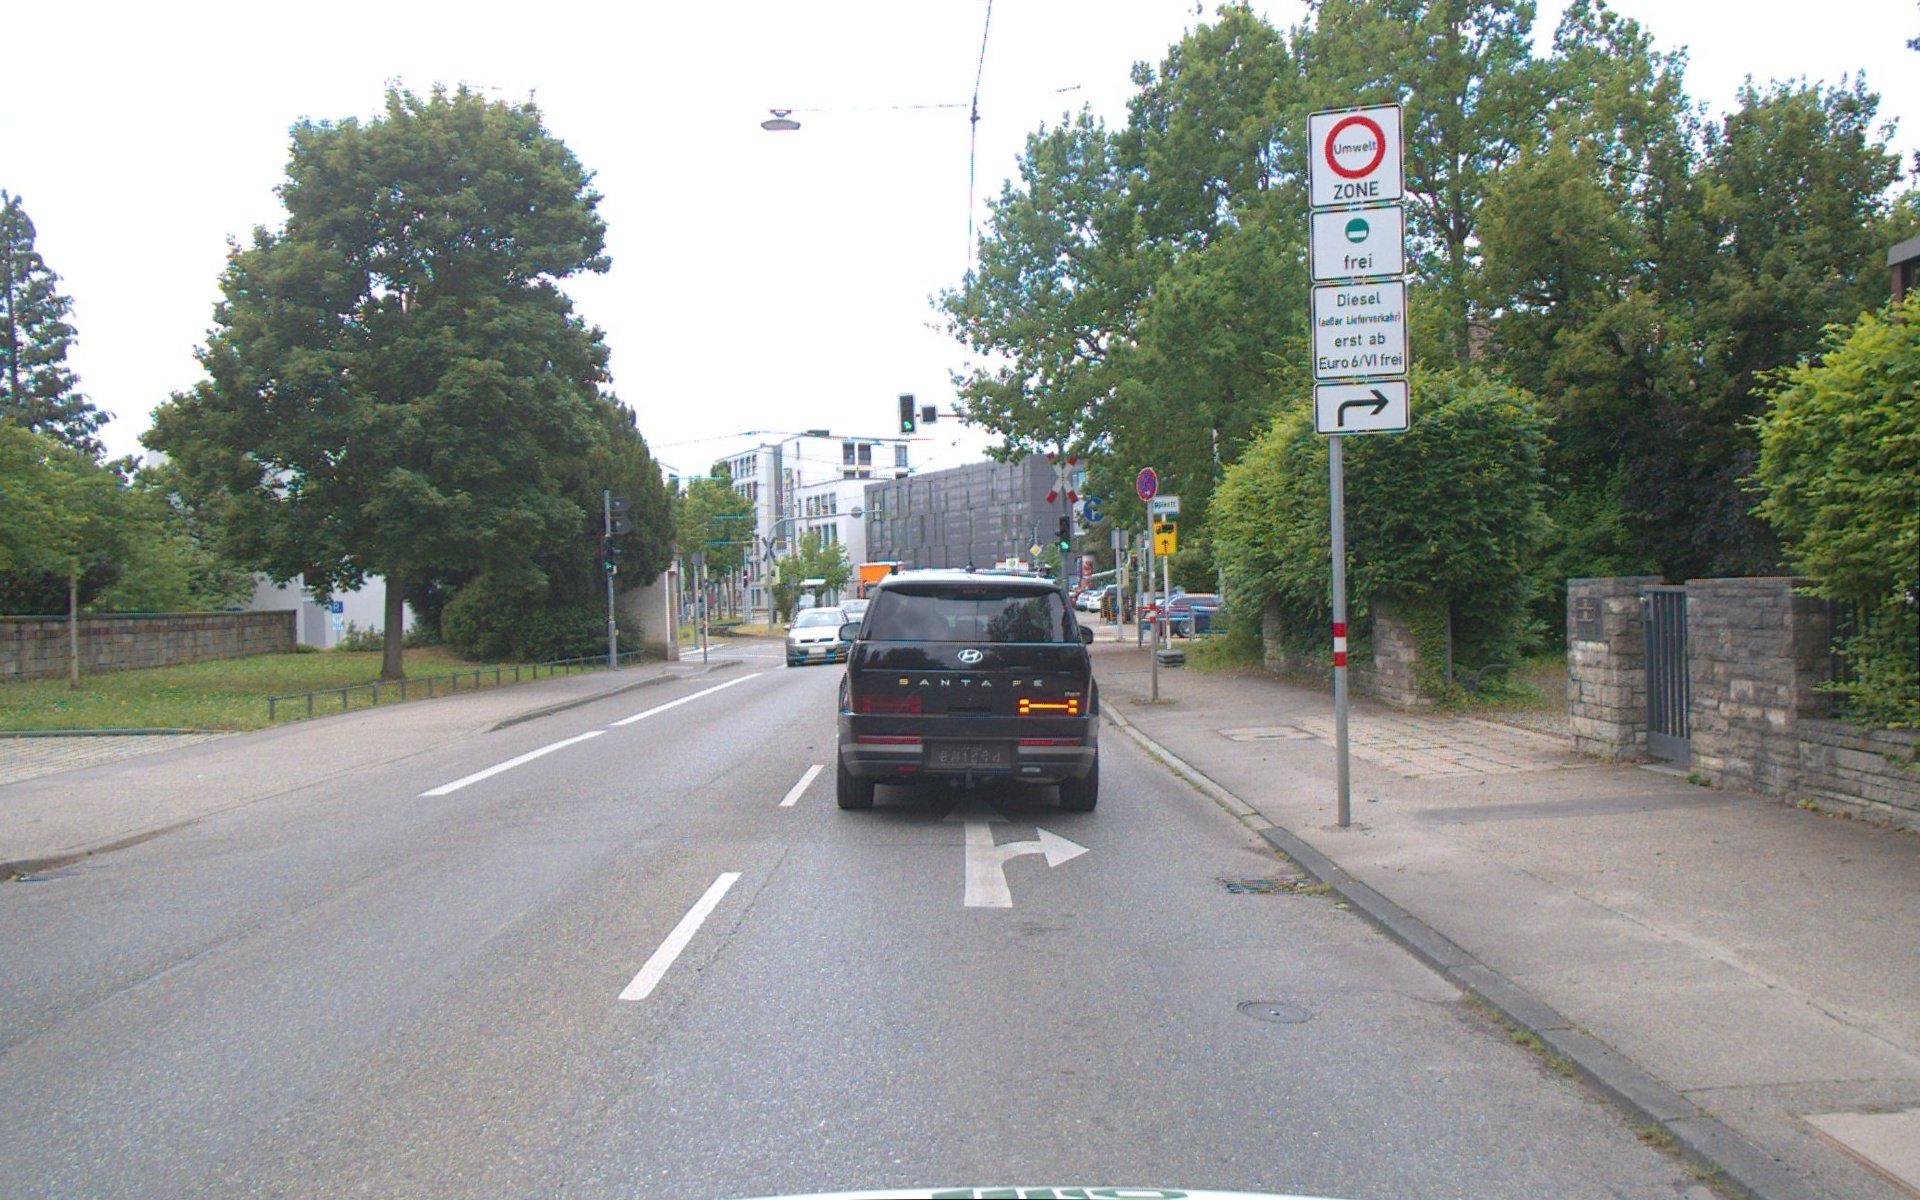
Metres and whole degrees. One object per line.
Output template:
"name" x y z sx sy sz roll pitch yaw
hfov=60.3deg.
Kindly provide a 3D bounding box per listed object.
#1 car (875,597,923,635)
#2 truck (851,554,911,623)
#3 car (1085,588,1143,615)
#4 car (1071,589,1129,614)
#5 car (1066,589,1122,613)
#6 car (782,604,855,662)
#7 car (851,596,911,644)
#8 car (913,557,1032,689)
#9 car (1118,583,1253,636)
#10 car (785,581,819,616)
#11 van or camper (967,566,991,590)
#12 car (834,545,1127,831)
"car" -2.903 0.741 78.081 1.848 1.667 3.890 -1 0 -9
"truck" -4.897 -0.655 100.585 3.048 3.926 9.608 -1 0 -6
"car" 9.933 0.101 106.805 3.613 1.611 1.688 -1 0 3
"car" 9.614 0.095 113.697 3.575 1.611 1.747 -1 0 -10
"car" 9.611 0.101 118.609 3.904 1.611 1.890 -1 0 3
"car" -3.868 0.848 44.662 1.847 1.445 3.995 -1 0 -6
"car" -2.989 0.728 62.178 1.848 1.667 3.890 -1 0 -9
"car" 0.192 0.376 28.654 1.858 2.077 3.993 2 0 0
"car" 7.726 0.305 56.819 4.217 1.689 1.863 -1 0 -20
"car" -11.121 -0.120 116.154 2.288 2.356 4.951 -1 0 -6
"van or camper" 1.628 -1.928 144.654 1.760 2.033 3.820 2 0 -4
"car" 0.121 0.577 12.746 1.858 1.807 3.993 2 0 0
